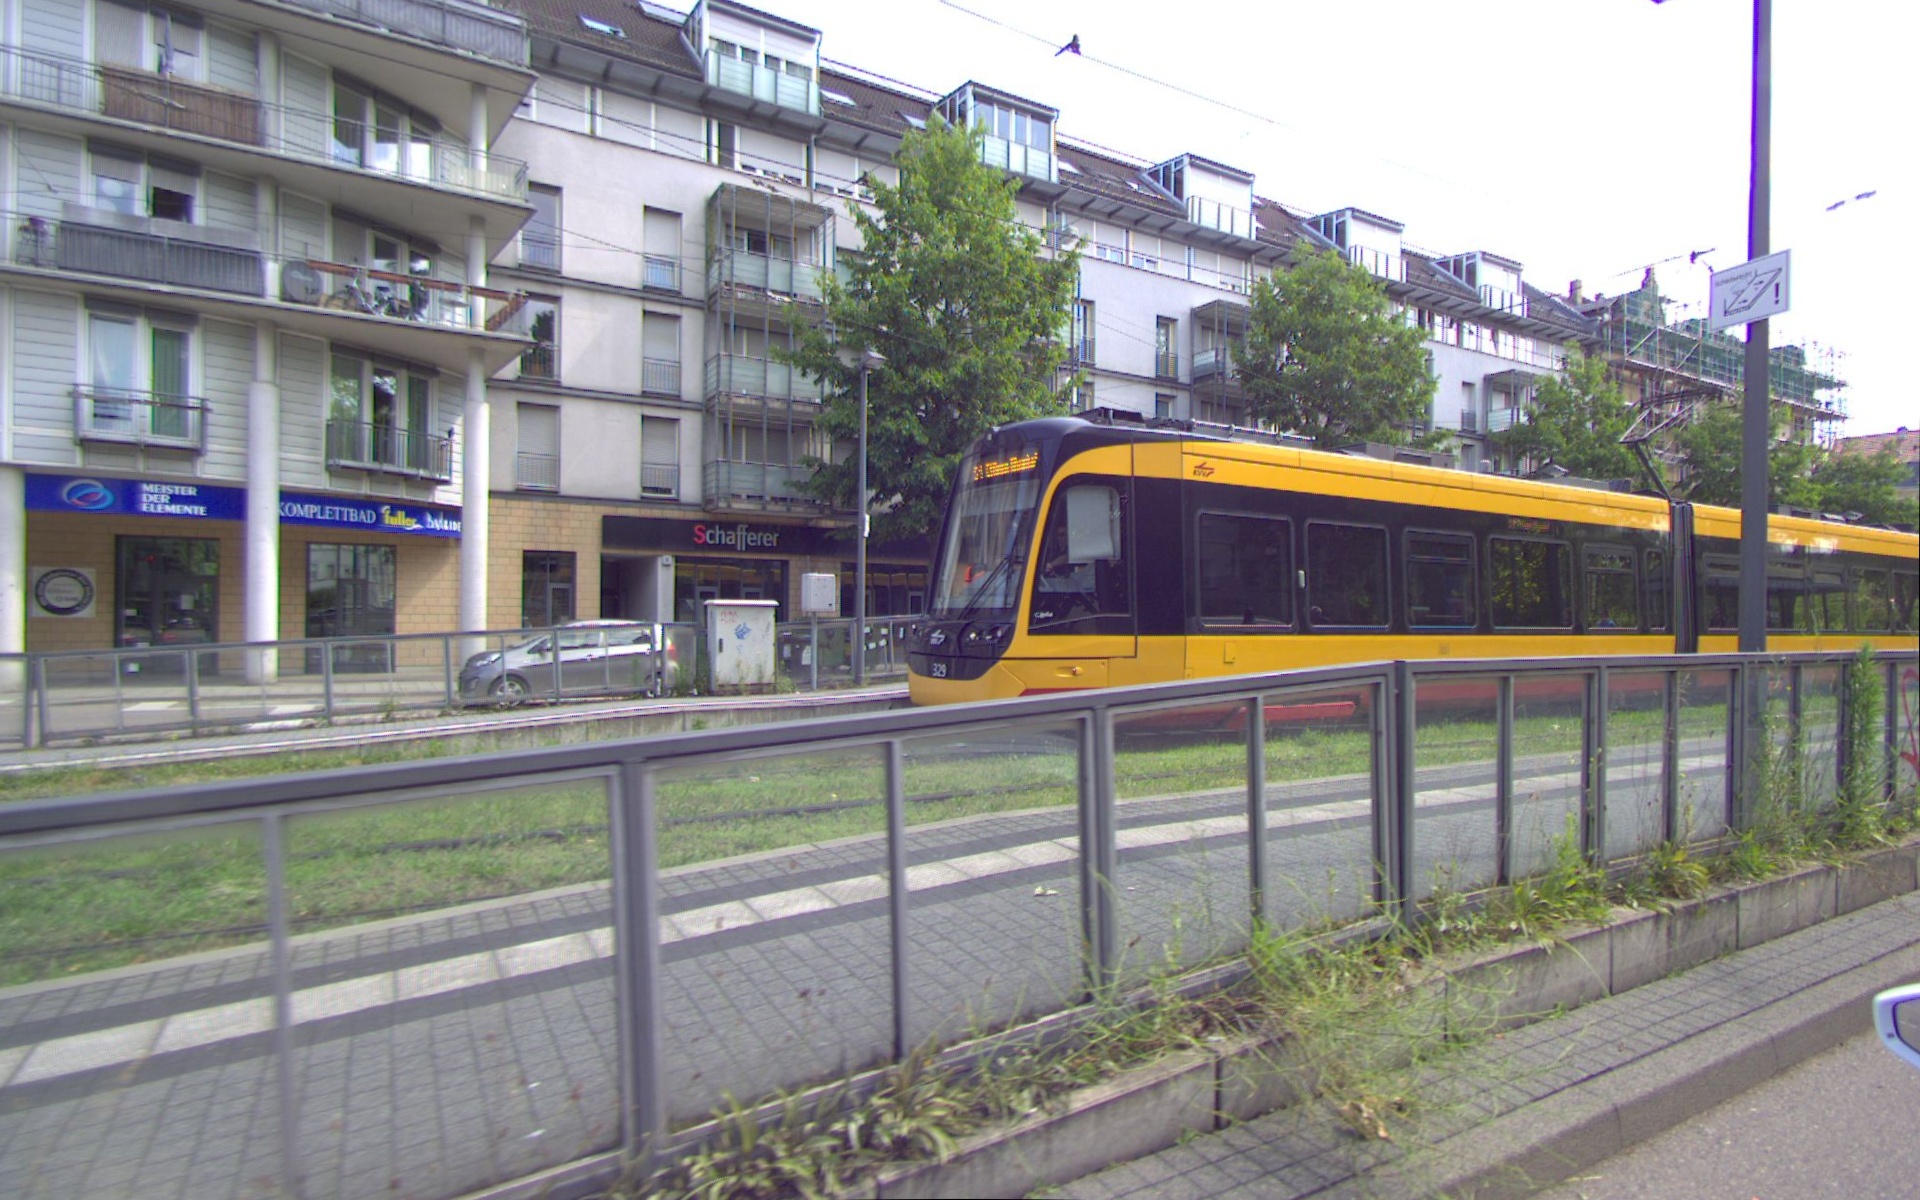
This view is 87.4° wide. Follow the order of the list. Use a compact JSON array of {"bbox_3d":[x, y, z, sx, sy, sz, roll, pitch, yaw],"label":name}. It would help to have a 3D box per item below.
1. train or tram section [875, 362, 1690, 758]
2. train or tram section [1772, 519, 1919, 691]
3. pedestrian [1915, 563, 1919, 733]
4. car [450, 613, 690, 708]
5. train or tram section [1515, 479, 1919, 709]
[{"bbox_3d":[5.252,-0.257,13.722,12.865,3.632,2.793,1,0,-31],"label":"train or tram section"},{"bbox_3d":[25.183,0.213,25.578,12.865,3.632,2.710,1,0,-31],"label":"train or tram section"},{"bbox_3d":[10.703,0.514,10.482,0.866,1.798,0.853,1,0,-30],"label":"pedestrian"},{"bbox_3d":[-6.637,0.978,17.182,3.602,1.458,1.625,1,-1,-32],"label":"car"},{"bbox_3d":[15.217,-0.007,19.683,10.283,3.632,2.782,1,0,-31],"label":"train or tram section"}]
